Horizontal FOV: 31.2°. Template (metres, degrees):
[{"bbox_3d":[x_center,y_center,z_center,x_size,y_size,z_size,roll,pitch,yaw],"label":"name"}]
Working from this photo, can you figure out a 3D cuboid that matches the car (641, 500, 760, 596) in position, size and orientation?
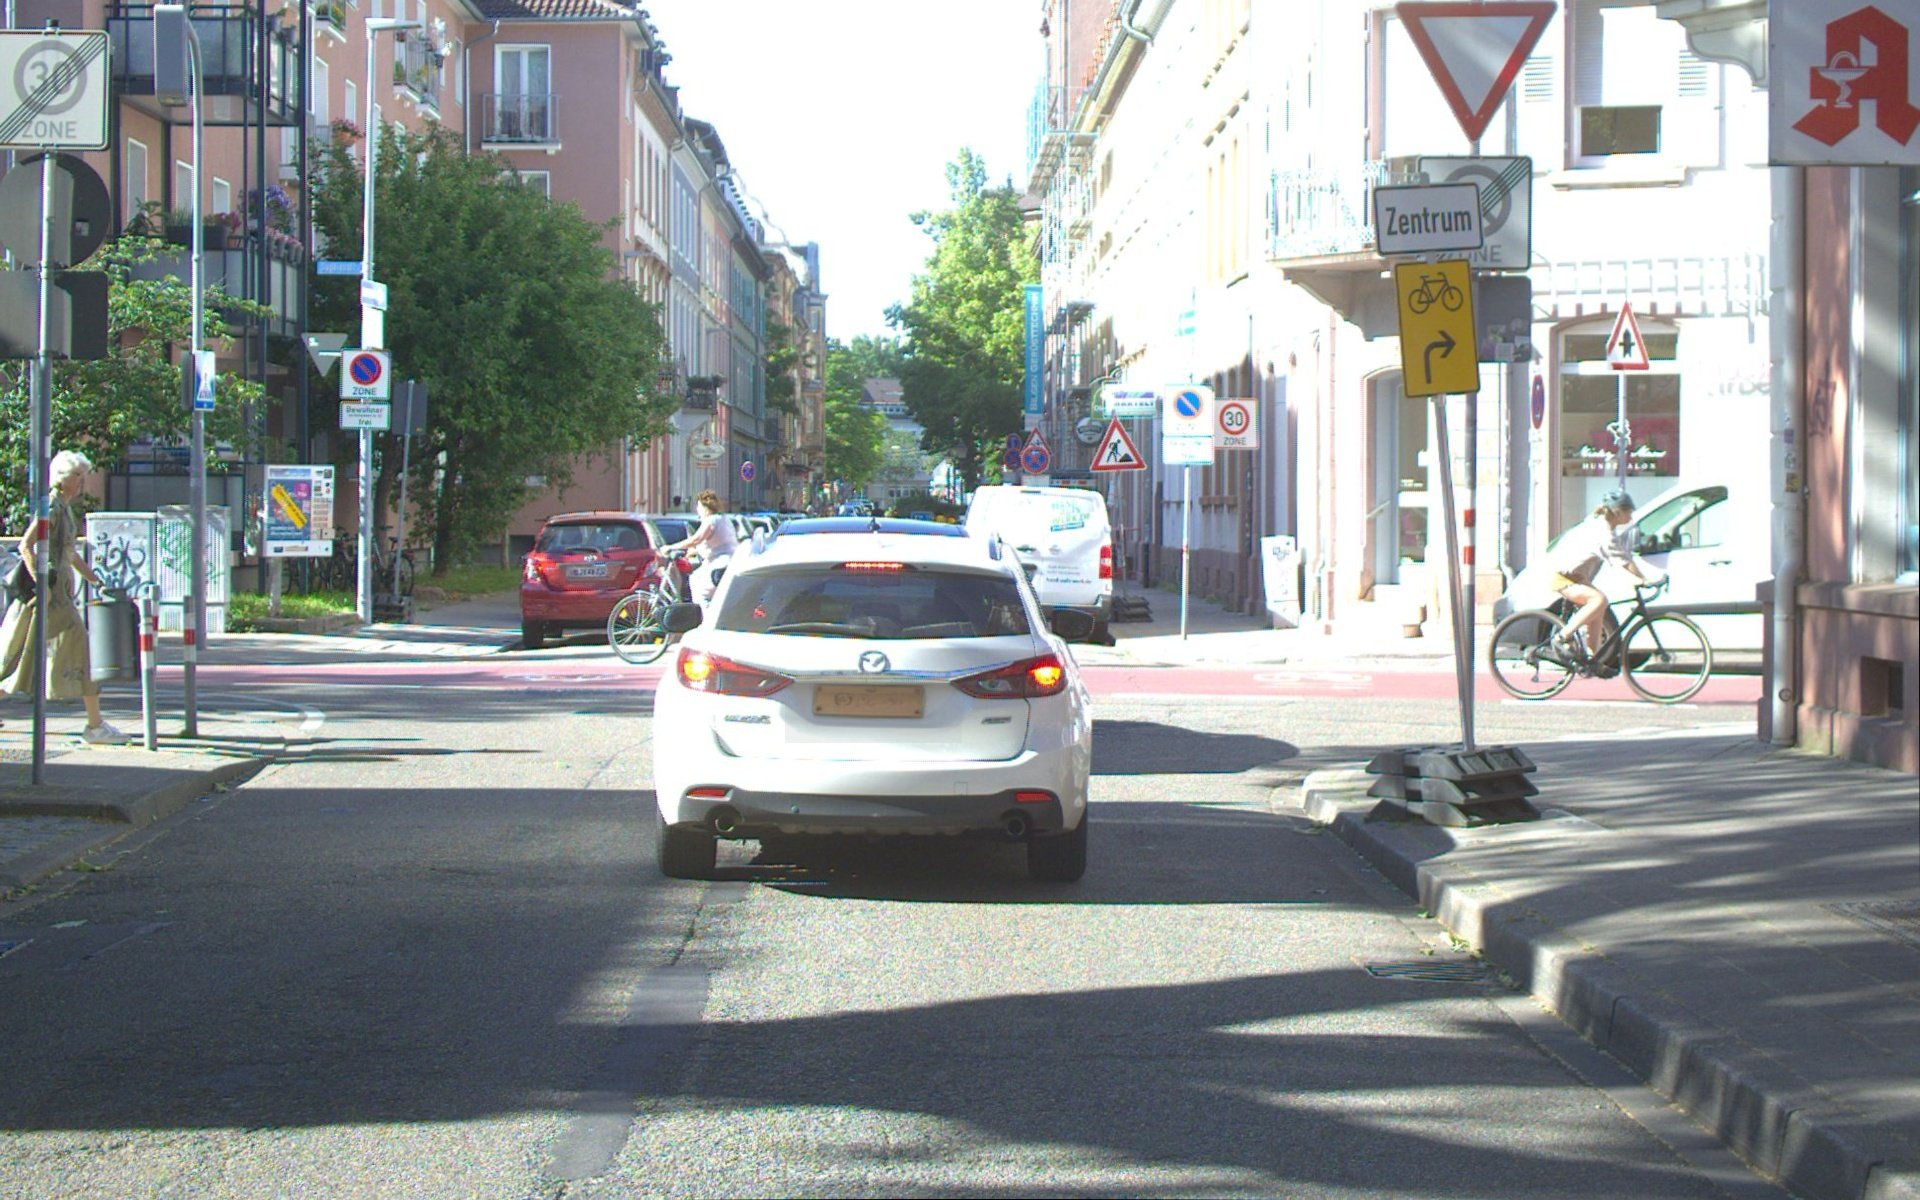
[{"bbox_3d":[-4.357,-0.877,58.108,1.720,1.571,3.726,0,1,0],"label":"car"}]

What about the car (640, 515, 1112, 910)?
[{"bbox_3d":[-0.375,0.395,15.357,1.823,1.509,3.824,1,2,-1],"label":"car"}]

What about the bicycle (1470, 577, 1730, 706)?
[{"bbox_3d":[4.977,0.317,26.804,1.927,0.982,0.663,0,1,4],"label":"bicycle"}]

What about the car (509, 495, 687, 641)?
[{"bbox_3d":[-4.184,-0.416,40.213,1.769,1.583,3.727,0,2,-1],"label":"car"}]

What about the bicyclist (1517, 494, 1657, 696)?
[{"bbox_3d":[4.874,-0.043,26.770,0.983,1.547,0.761,0,1,3],"label":"bicyclist"}]

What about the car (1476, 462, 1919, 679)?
[{"bbox_3d":[7.496,-0.278,32.162,4.896,1.922,1.997,1,0,24],"label":"car"}]

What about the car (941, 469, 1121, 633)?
[{"bbox_3d":[0.847,-0.647,43.450,1.942,1.941,4.079,1,1,-3],"label":"car"}]

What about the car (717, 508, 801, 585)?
[{"bbox_3d":[-4.214,-1.135,72.429,1.572,1.580,3.611,0,1,0],"label":"car"}]

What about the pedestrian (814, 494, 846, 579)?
[{"bbox_3d":[-2.763,-1.356,73.259,0.647,1.791,0.639,0,1,0],"label":"pedestrian"}]

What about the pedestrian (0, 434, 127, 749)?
[{"bbox_3d":[-5.432,-0.057,20.447,0.853,1.809,0.815,2,0,-14],"label":"pedestrian"}]

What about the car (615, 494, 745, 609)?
[{"bbox_3d":[-4.146,-0.726,51.323,1.635,1.650,3.785,0,1,0],"label":"car"}]

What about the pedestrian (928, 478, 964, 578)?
[{"bbox_3d":[-0.292,-1.540,73.427,0.771,2.110,0.835,0,1,0],"label":"pedestrian"}]

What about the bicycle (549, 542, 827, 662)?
[{"bbox_3d":[-2.498,0.006,31.618,2.426,1.076,0.790,0,1,15],"label":"bicycle"}]

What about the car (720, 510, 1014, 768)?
[{"bbox_3d":[-0.574,0.176,21.499,1.682,1.476,3.661,0,1,-1],"label":"car"}]

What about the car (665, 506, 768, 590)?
[{"bbox_3d":[-4.373,-0.944,62.120,1.602,1.472,3.567,0,1,0],"label":"car"}]

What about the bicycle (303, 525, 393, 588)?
[{"bbox_3d":[-9.170,-0.654,51.475,0.603,0.929,1.915,-1,1,-34],"label":"bicycle"}]

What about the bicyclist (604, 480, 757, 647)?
[{"bbox_3d":[-2.570,-0.336,31.659,1.196,1.511,0.840,0,1,15],"label":"bicyclist"}]

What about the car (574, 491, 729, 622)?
[{"bbox_3d":[-4.069,-0.600,45.810,1.720,1.677,3.726,0,1,0],"label":"car"}]
